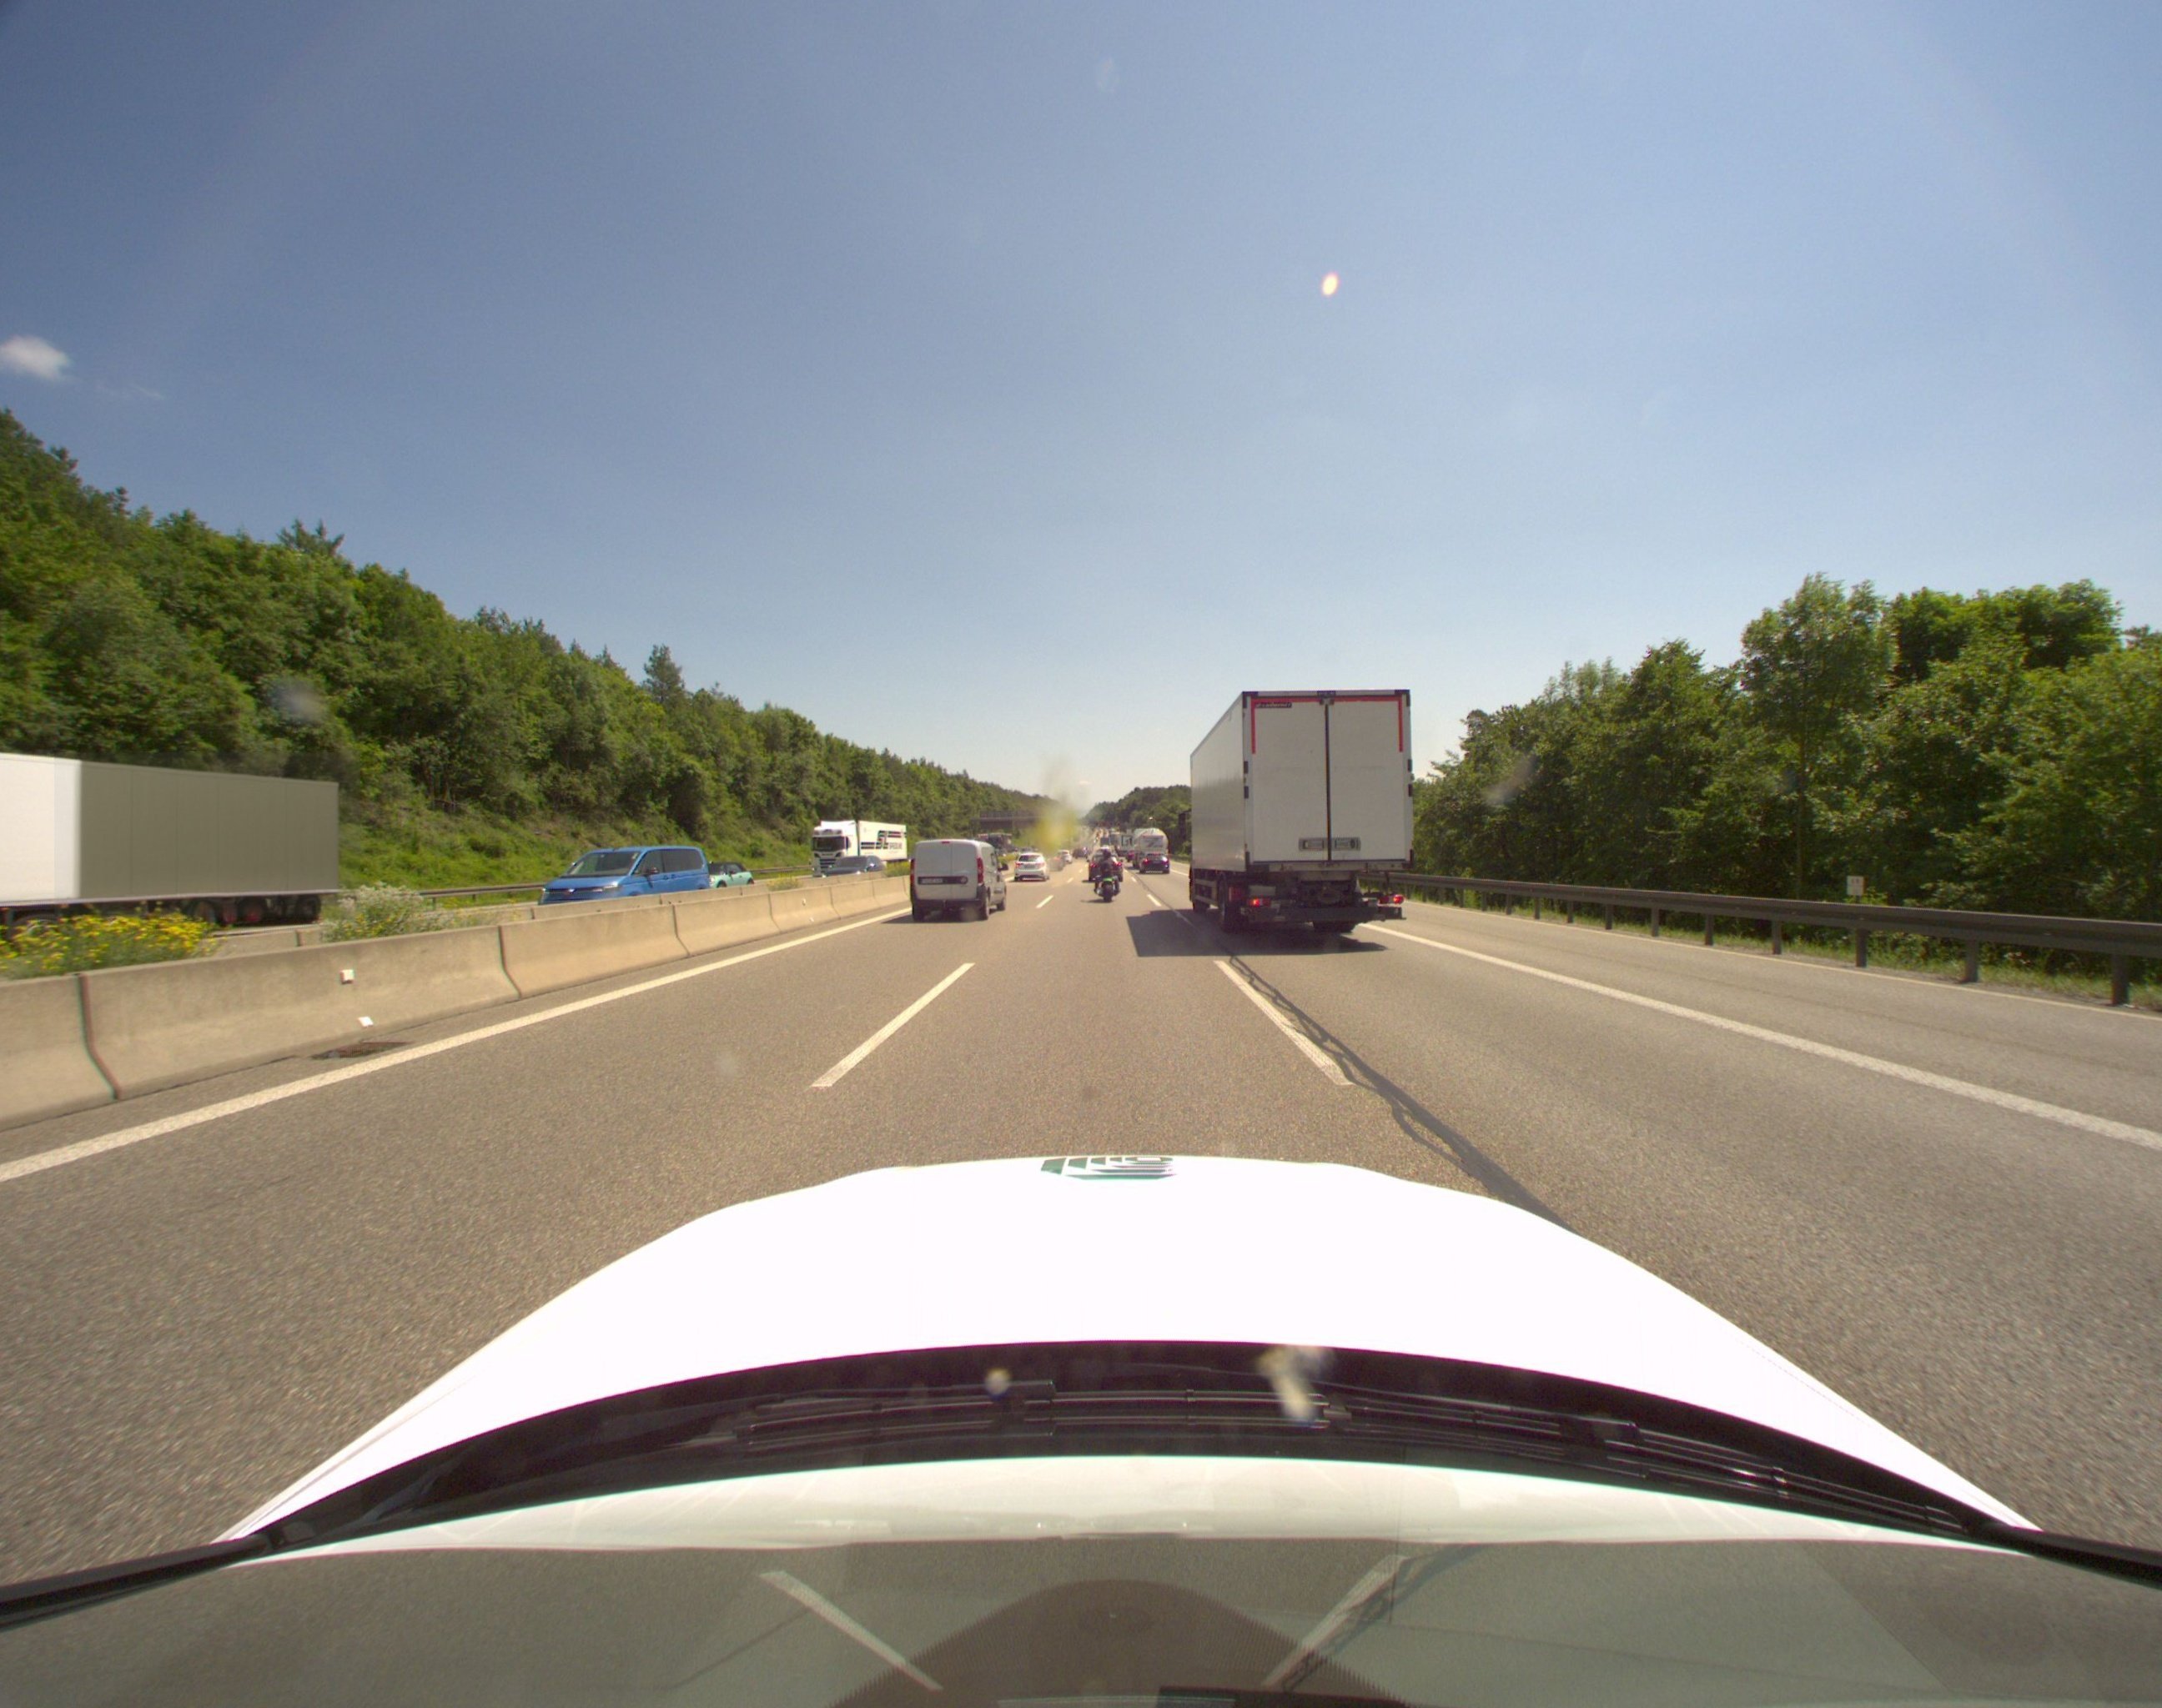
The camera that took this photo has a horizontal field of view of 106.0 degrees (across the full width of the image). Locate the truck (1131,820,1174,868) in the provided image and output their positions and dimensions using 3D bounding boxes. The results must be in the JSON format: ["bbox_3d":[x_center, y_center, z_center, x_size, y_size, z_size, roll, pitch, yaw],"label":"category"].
[{"bbox_3d":[6.027,-0.763,70.228,2.977,3.671,9.291,-3,-1,2],"label":"truck"}]

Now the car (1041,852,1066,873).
[{"bbox_3d":[-2.073,0.628,62.382,1.693,1.478,4.002,-1,0,2],"label":"car"}]

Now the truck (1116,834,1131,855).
[{"bbox_3d":[9.240,-2.021,178.287,3.022,4.542,9.987,0,0,2],"label":"truck"}]

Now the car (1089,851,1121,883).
[{"bbox_3d":[1.219,0.635,42.289,1.527,1.510,4.001,-3,0,1],"label":"car"}]

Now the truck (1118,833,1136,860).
[{"bbox_3d":[8.003,-1.366,142.964,3.022,4.542,9.987,0,0,2],"label":"truck"}]

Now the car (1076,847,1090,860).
[{"bbox_3d":[0.249,-0.136,118.064,1.873,1.859,4.002,0,0,2],"label":"car"}]

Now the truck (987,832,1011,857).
[{"bbox_3d":[-14.130,-1.550,140.560,2.895,3.974,7.771,-3,-1,2],"label":"truck"}]

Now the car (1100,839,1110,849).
[{"bbox_3d":[6.152,-2.509,211.410,2.495,2.587,5.018,-1,0,2],"label":"car"}]

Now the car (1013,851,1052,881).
[{"bbox_3d":[-2.543,0.616,43.741,1.693,1.478,4.002,-1,0,2],"label":"car"}]

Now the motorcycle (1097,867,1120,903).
[{"bbox_3d":[0.880,0.954,25.626,0.688,1.015,2.123,0,0,3],"label":"motorcycle"}]

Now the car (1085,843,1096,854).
[{"bbox_3d":[1.927,-1.100,165.215,1.922,2.014,4.002,-3,-1,2],"label":"car"}]

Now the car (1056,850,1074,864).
[{"bbox_3d":[-1.728,0.276,87.942,1.693,1.478,4.002,-1,0,2],"label":"car"}]

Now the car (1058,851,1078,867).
[{"bbox_3d":[-1.181,0.454,75.869,1.693,1.478,4.002,-1,0,2],"label":"car"}]

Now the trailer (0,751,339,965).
[{"bbox_3d":[-21.794,0.133,15.865,2.797,4.047,12.628,-3,-1,1],"label":"trailer"}]

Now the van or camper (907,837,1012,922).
[{"bbox_3d":[-2.920,0.591,20.384,1.788,1.892,4.163,0,-1,3],"label":"van or camper"}]

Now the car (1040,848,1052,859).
[{"bbox_3d":[-6.729,-0.093,157.026,1.872,2.013,4.470,-4,-1,2],"label":"car"}]

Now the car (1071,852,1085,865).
[{"bbox_3d":[-0.531,0.735,130.794,1.986,2.014,4.002,-3,-1,2],"label":"car"}]

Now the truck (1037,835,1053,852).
[{"bbox_3d":[-10.319,-2.953,233.269,3.711,4.528,7.327,-3,-1,1],"label":"truck"}]

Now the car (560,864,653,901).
[{"bbox_3d":[-21.374,1.233,36.893,1.660,1.466,4.191,-1,0,2],"label":"car"}]

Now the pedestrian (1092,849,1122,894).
[{"bbox_3d":[0.815,0.530,25.551,0.846,1.362,0.962,-3,0,3],"label":"pedestrian"}]

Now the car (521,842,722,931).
[{"bbox_3d":[-11.037,0.726,20.116,1.905,1.847,5.038,-3,-1,2],"label":"car"}]

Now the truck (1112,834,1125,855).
[{"bbox_3d":[9.536,-2.443,207.292,3.022,5.139,9.987,0,0,2],"label":"truck"}]

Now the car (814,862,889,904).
[{"bbox_3d":[-10.076,1.226,36.154,1.899,1.640,4.539,-1,0,2],"label":"car"}]

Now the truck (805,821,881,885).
[{"bbox_3d":[-16.911,-0.020,58.393,2.792,4.165,7.604,-2,-1,2],"label":"truck"}]

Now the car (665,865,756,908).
[{"bbox_3d":[-13.974,1.180,30.930,1.576,1.445,3.732,-3,-1,2],"label":"car"}]

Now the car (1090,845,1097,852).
[{"bbox_3d":[3.730,-1.780,248.126,1.986,2.013,4.002,0,0,2],"label":"car"}]

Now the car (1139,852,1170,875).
[{"bbox_3d":[4.945,0.639,55.192,1.822,1.470,4.002,0,0,2],"label":"car"}]

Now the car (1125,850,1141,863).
[{"bbox_3d":[6.237,0.299,98.175,1.780,1.555,3.805,-1,0,2],"label":"car"}]

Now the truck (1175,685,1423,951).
[{"bbox_3d":[3.868,-0.537,17.231,2.678,3.876,9.784,-3,0,2],"label":"truck"}]

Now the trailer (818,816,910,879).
[{"bbox_3d":[-16.690,-0.384,64.131,2.792,4.338,14.044,-2,-1,2],"label":"trailer"}]

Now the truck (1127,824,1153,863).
[{"bbox_3d":[5.735,-0.973,79.284,1.987,3.522,4.749,-3,-1,-1],"label":"truck"}]
